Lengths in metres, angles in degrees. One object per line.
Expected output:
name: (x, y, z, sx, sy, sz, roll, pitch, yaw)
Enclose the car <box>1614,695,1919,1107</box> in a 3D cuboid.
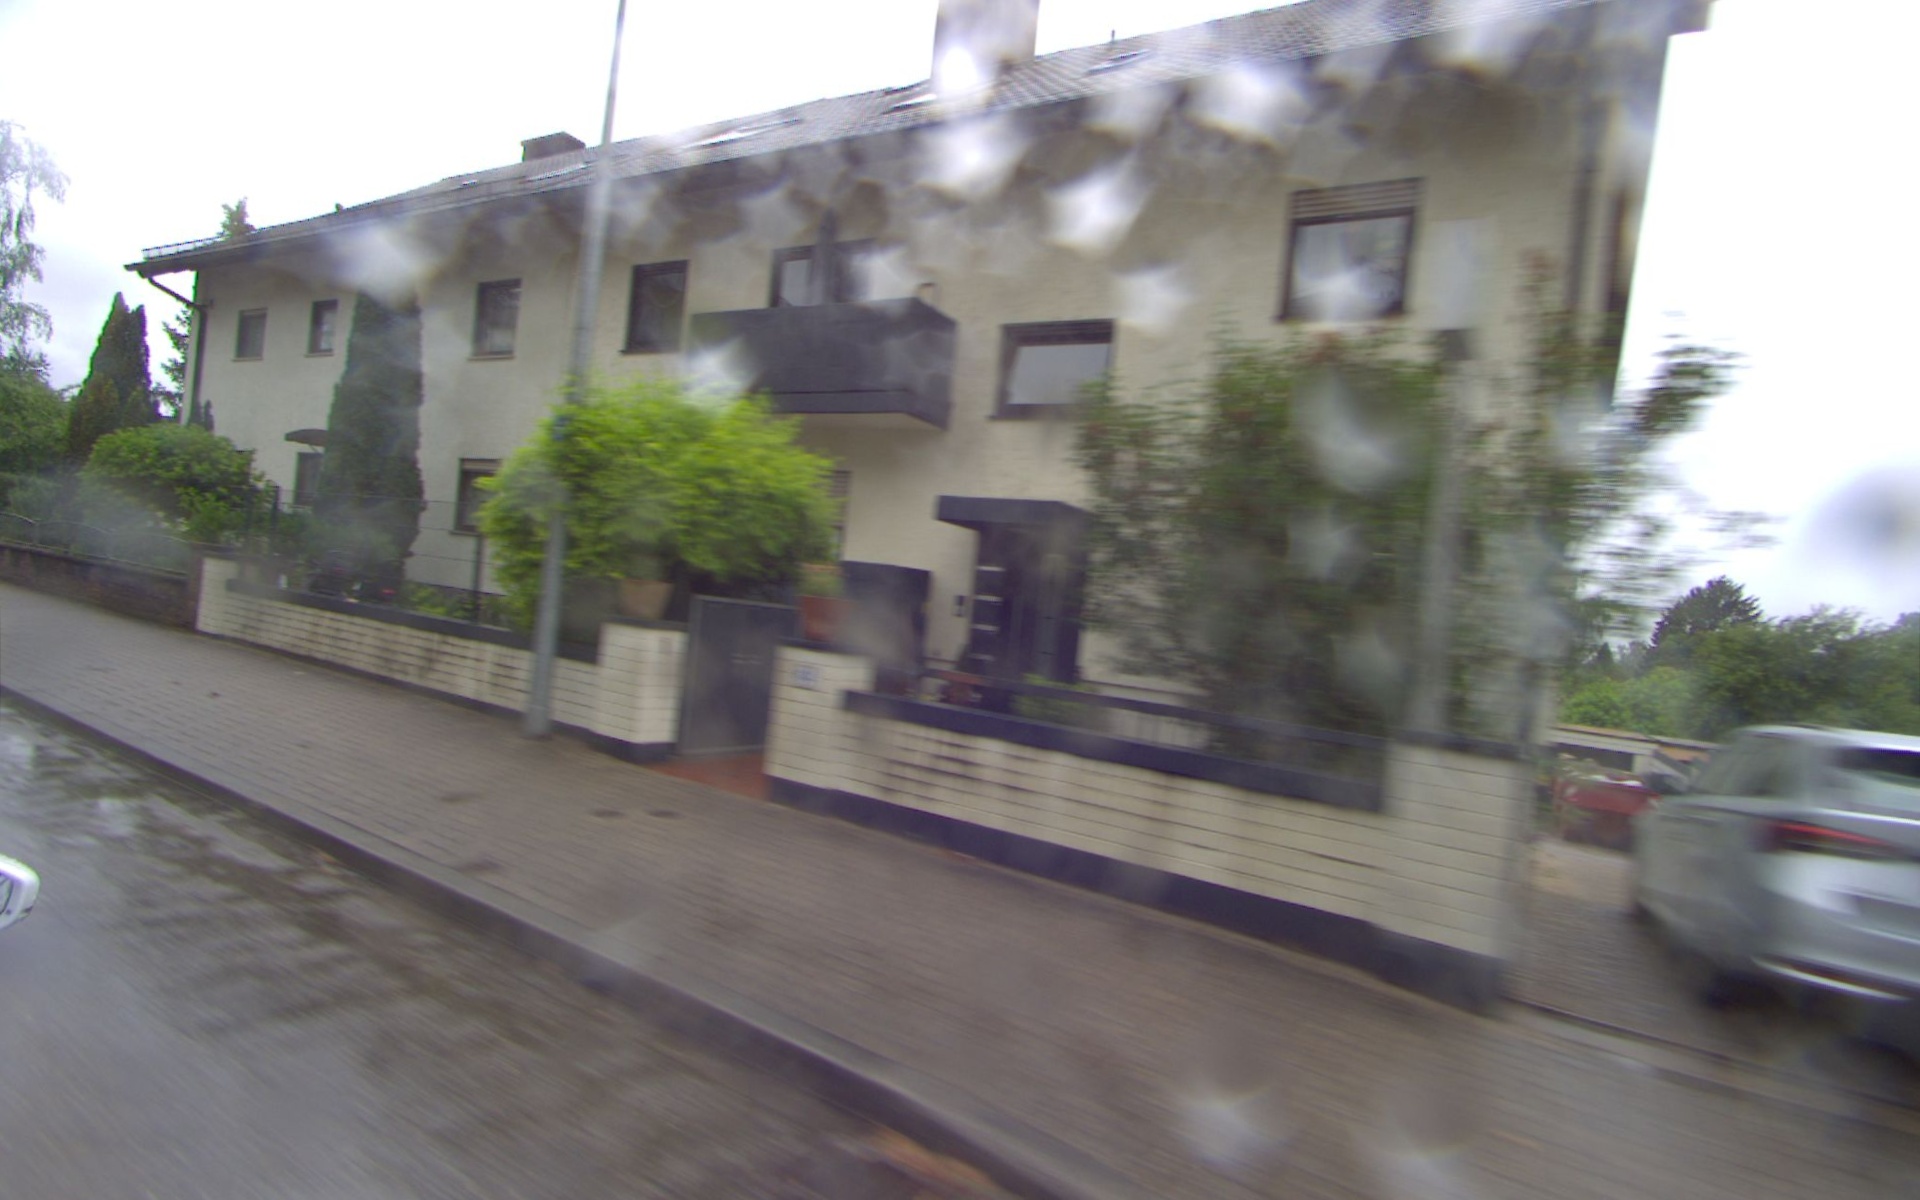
car: (4.889, 1.439, 5.575, 1.673, 1.462, 4.233, 7, -2, 30)
